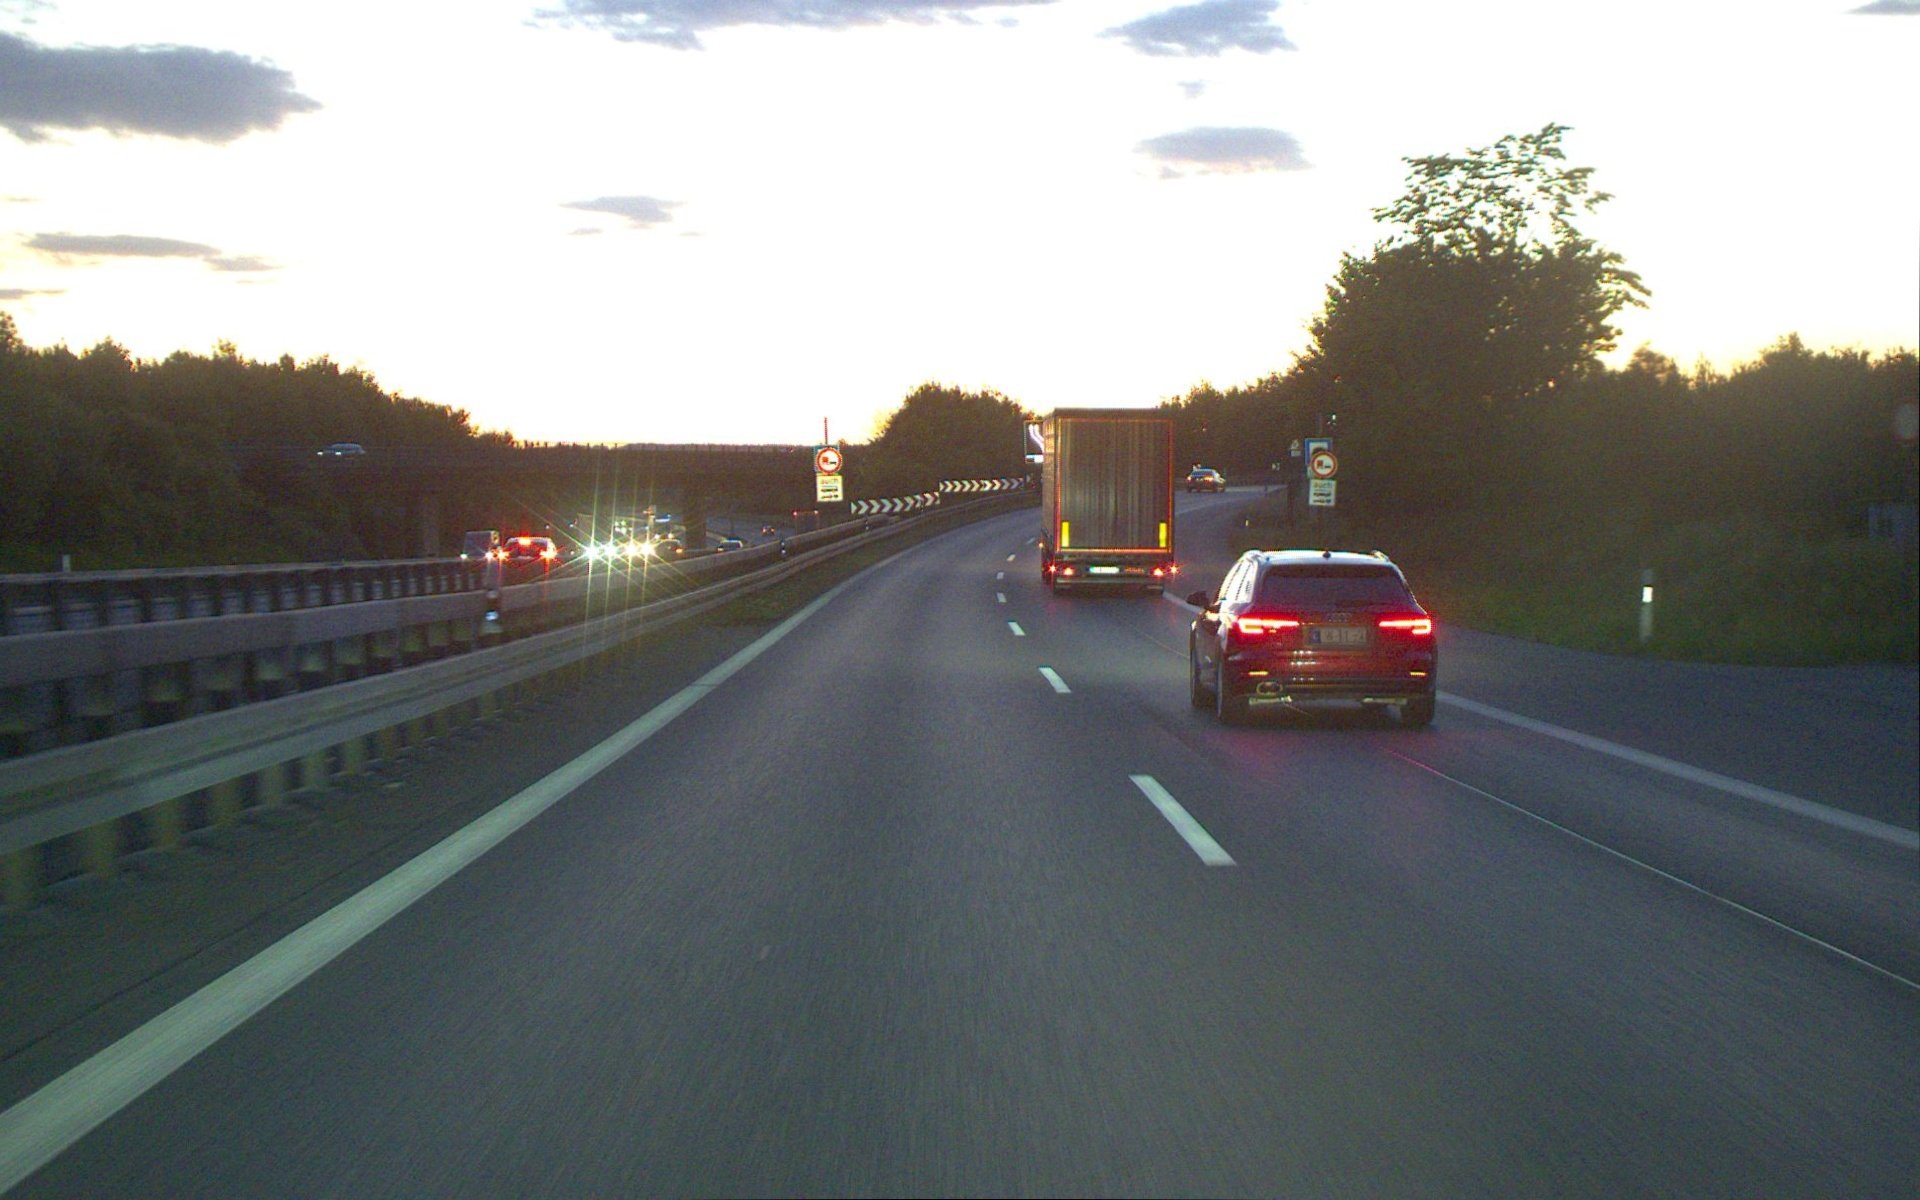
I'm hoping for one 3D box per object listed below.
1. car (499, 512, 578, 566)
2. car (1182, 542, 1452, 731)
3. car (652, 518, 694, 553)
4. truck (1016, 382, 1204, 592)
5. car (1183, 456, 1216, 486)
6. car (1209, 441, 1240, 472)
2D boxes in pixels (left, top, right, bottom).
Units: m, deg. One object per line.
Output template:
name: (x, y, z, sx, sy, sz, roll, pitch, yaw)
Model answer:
car: (-12.900, -1.864, 105.501, 1.872, 1.556, 4.520, -2, 1, -1)
car: (2.976, 0.259, 29.445, 1.915, 1.437, 4.000, -2, 1, 1)
car: (-13.945, -3.130, 167.249, 1.713, 1.600, 3.722, -2, 1, 0)
truck: (3.212, -2.451, 76.754, 3.509, 4.286, 9.892, -2, 1, -1)
car: (16.086, -8.643, 230.731, 1.900, 2.007, 3.860, 0, 1, 0)
car: (18.237, -9.903, 237.267, 1.761, 2.007, 3.518, -2, 1, 0)
